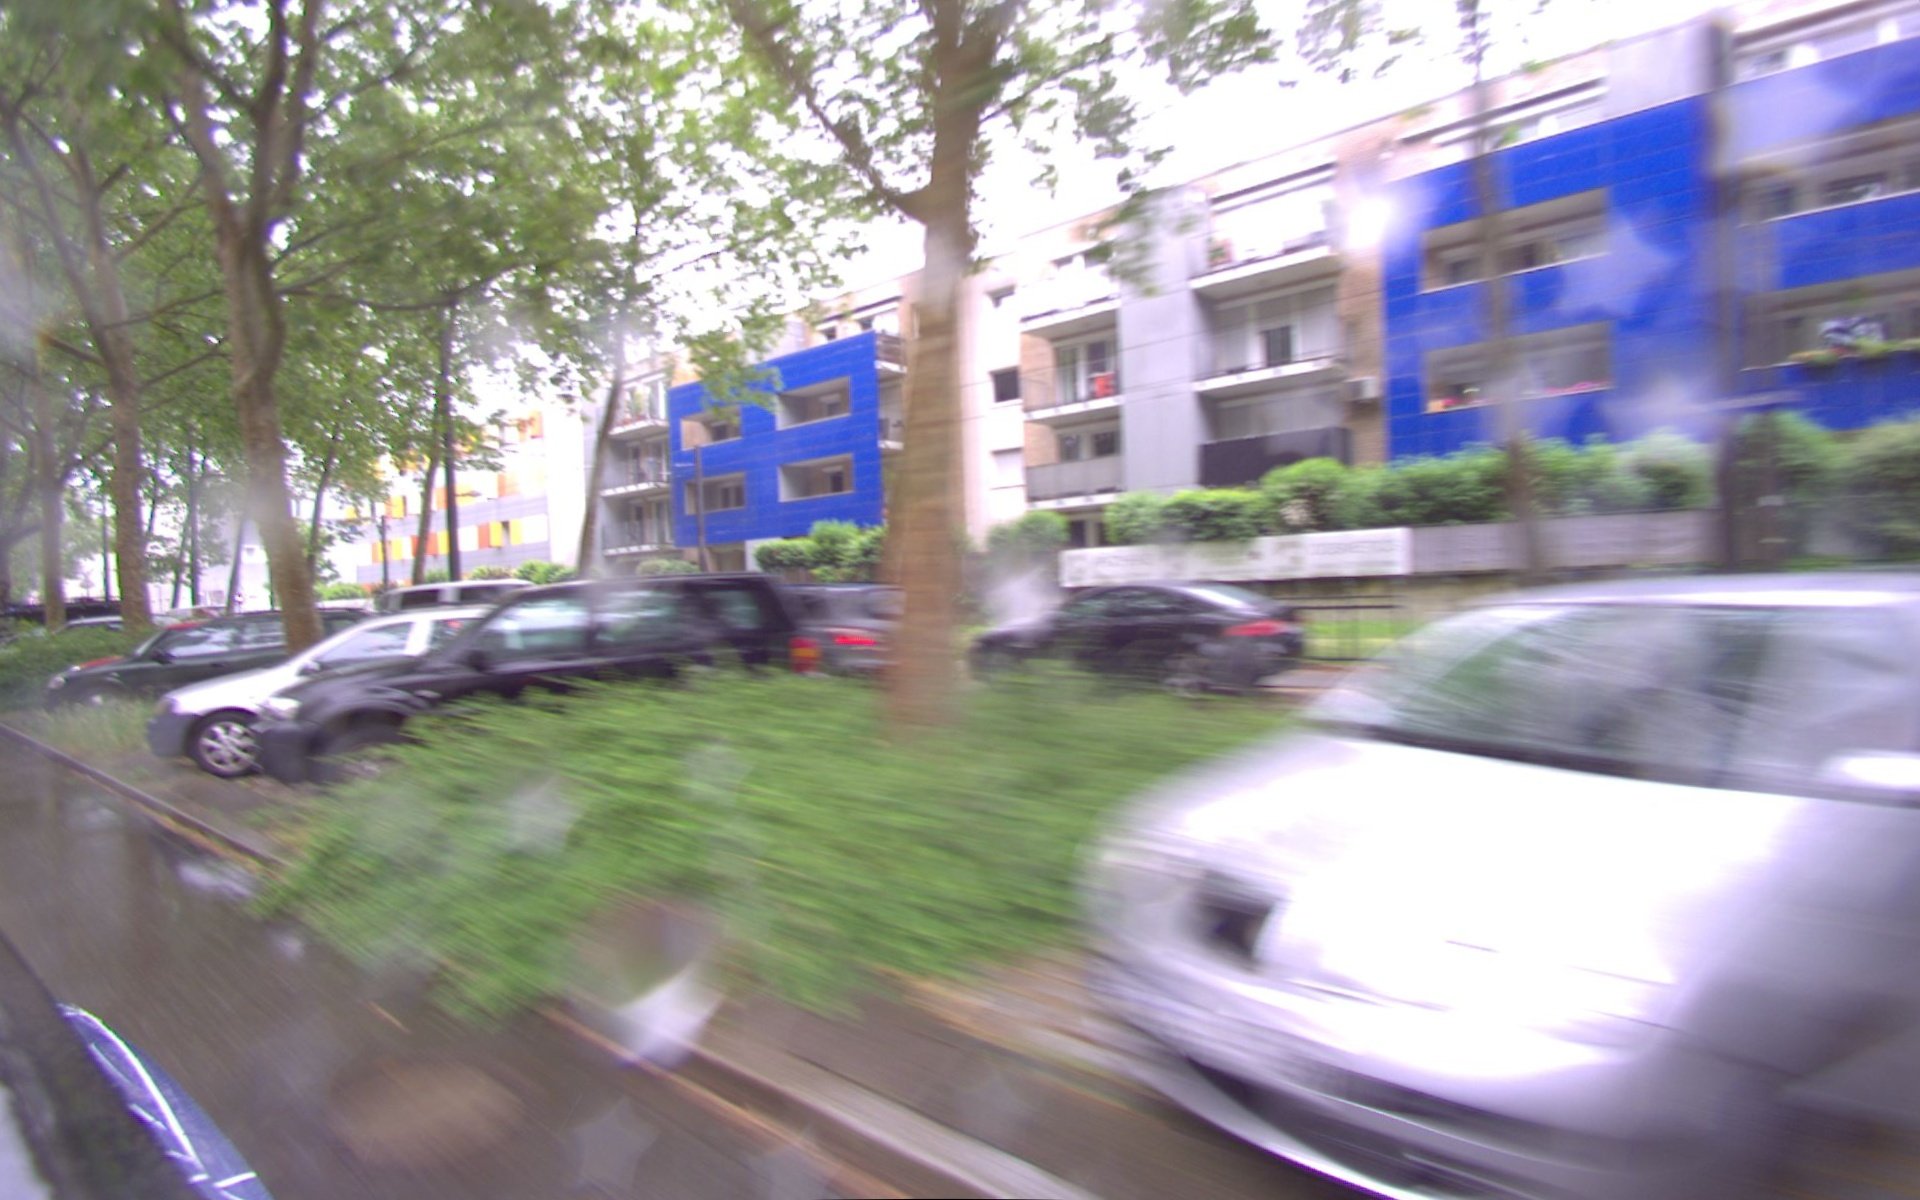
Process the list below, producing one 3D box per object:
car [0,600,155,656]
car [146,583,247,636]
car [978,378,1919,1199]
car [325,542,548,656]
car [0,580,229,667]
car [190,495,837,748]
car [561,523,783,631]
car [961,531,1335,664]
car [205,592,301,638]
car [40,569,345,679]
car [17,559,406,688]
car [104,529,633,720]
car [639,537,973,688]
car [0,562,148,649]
[{"bbox_3d":[-24.261,0.760,26.534,4.580,1.336,1.853,-2,0,-22],"label":"car"},{"bbox_3d":[-33.494,0.443,44.346,5.425,2.012,2.035,-3,2,37],"label":"car"},{"bbox_3d":[2.273,0.367,3.008,3.999,1.510,1.753,-4,0,-26],"label":"car"},{"bbox_3d":[-10.717,0.035,20.553,5.152,2.015,2.019,-3,0,38],"label":"car"},{"bbox_3d":[-18.042,0.493,21.263,3.995,1.549,1.841,-4,0,-24],"label":"car"},{"bbox_3d":[-3.398,0.090,8.403,4.342,1.672,1.936,-2,-1,-19],"label":"car"},{"bbox_3d":[-5.605,-0.382,19.432,4.417,1.753,1.885,-3,0,40],"label":"car"},{"bbox_3d":[2.320,0.037,12.990,4.251,1.400,1.975,-3,-1,37],"label":"car"},{"bbox_3d":[-26.859,0.577,38.380,4.211,1.545,1.885,-3,0,40],"label":"car"},{"bbox_3d":[-12.475,0.359,16.725,3.591,1.490,1.749,-4,0,-19],"label":"car"},{"bbox_3d":[-10.535,0.290,14.658,4.158,1.490,1.749,-4,0,-22],"label":"car"},{"bbox_3d":[-5.638,0.201,10.328,4.342,1.658,1.877,-1,-1,-18],"label":"car"},{"bbox_3d":[-2.086,0.153,13.139,4.135,1.652,1.974,-2,1,39],"label":"car"},{"bbox_3d":[-26.178,0.195,28.599,4.580,2.300,2.018,-2,0,-20],"label":"car"}]
